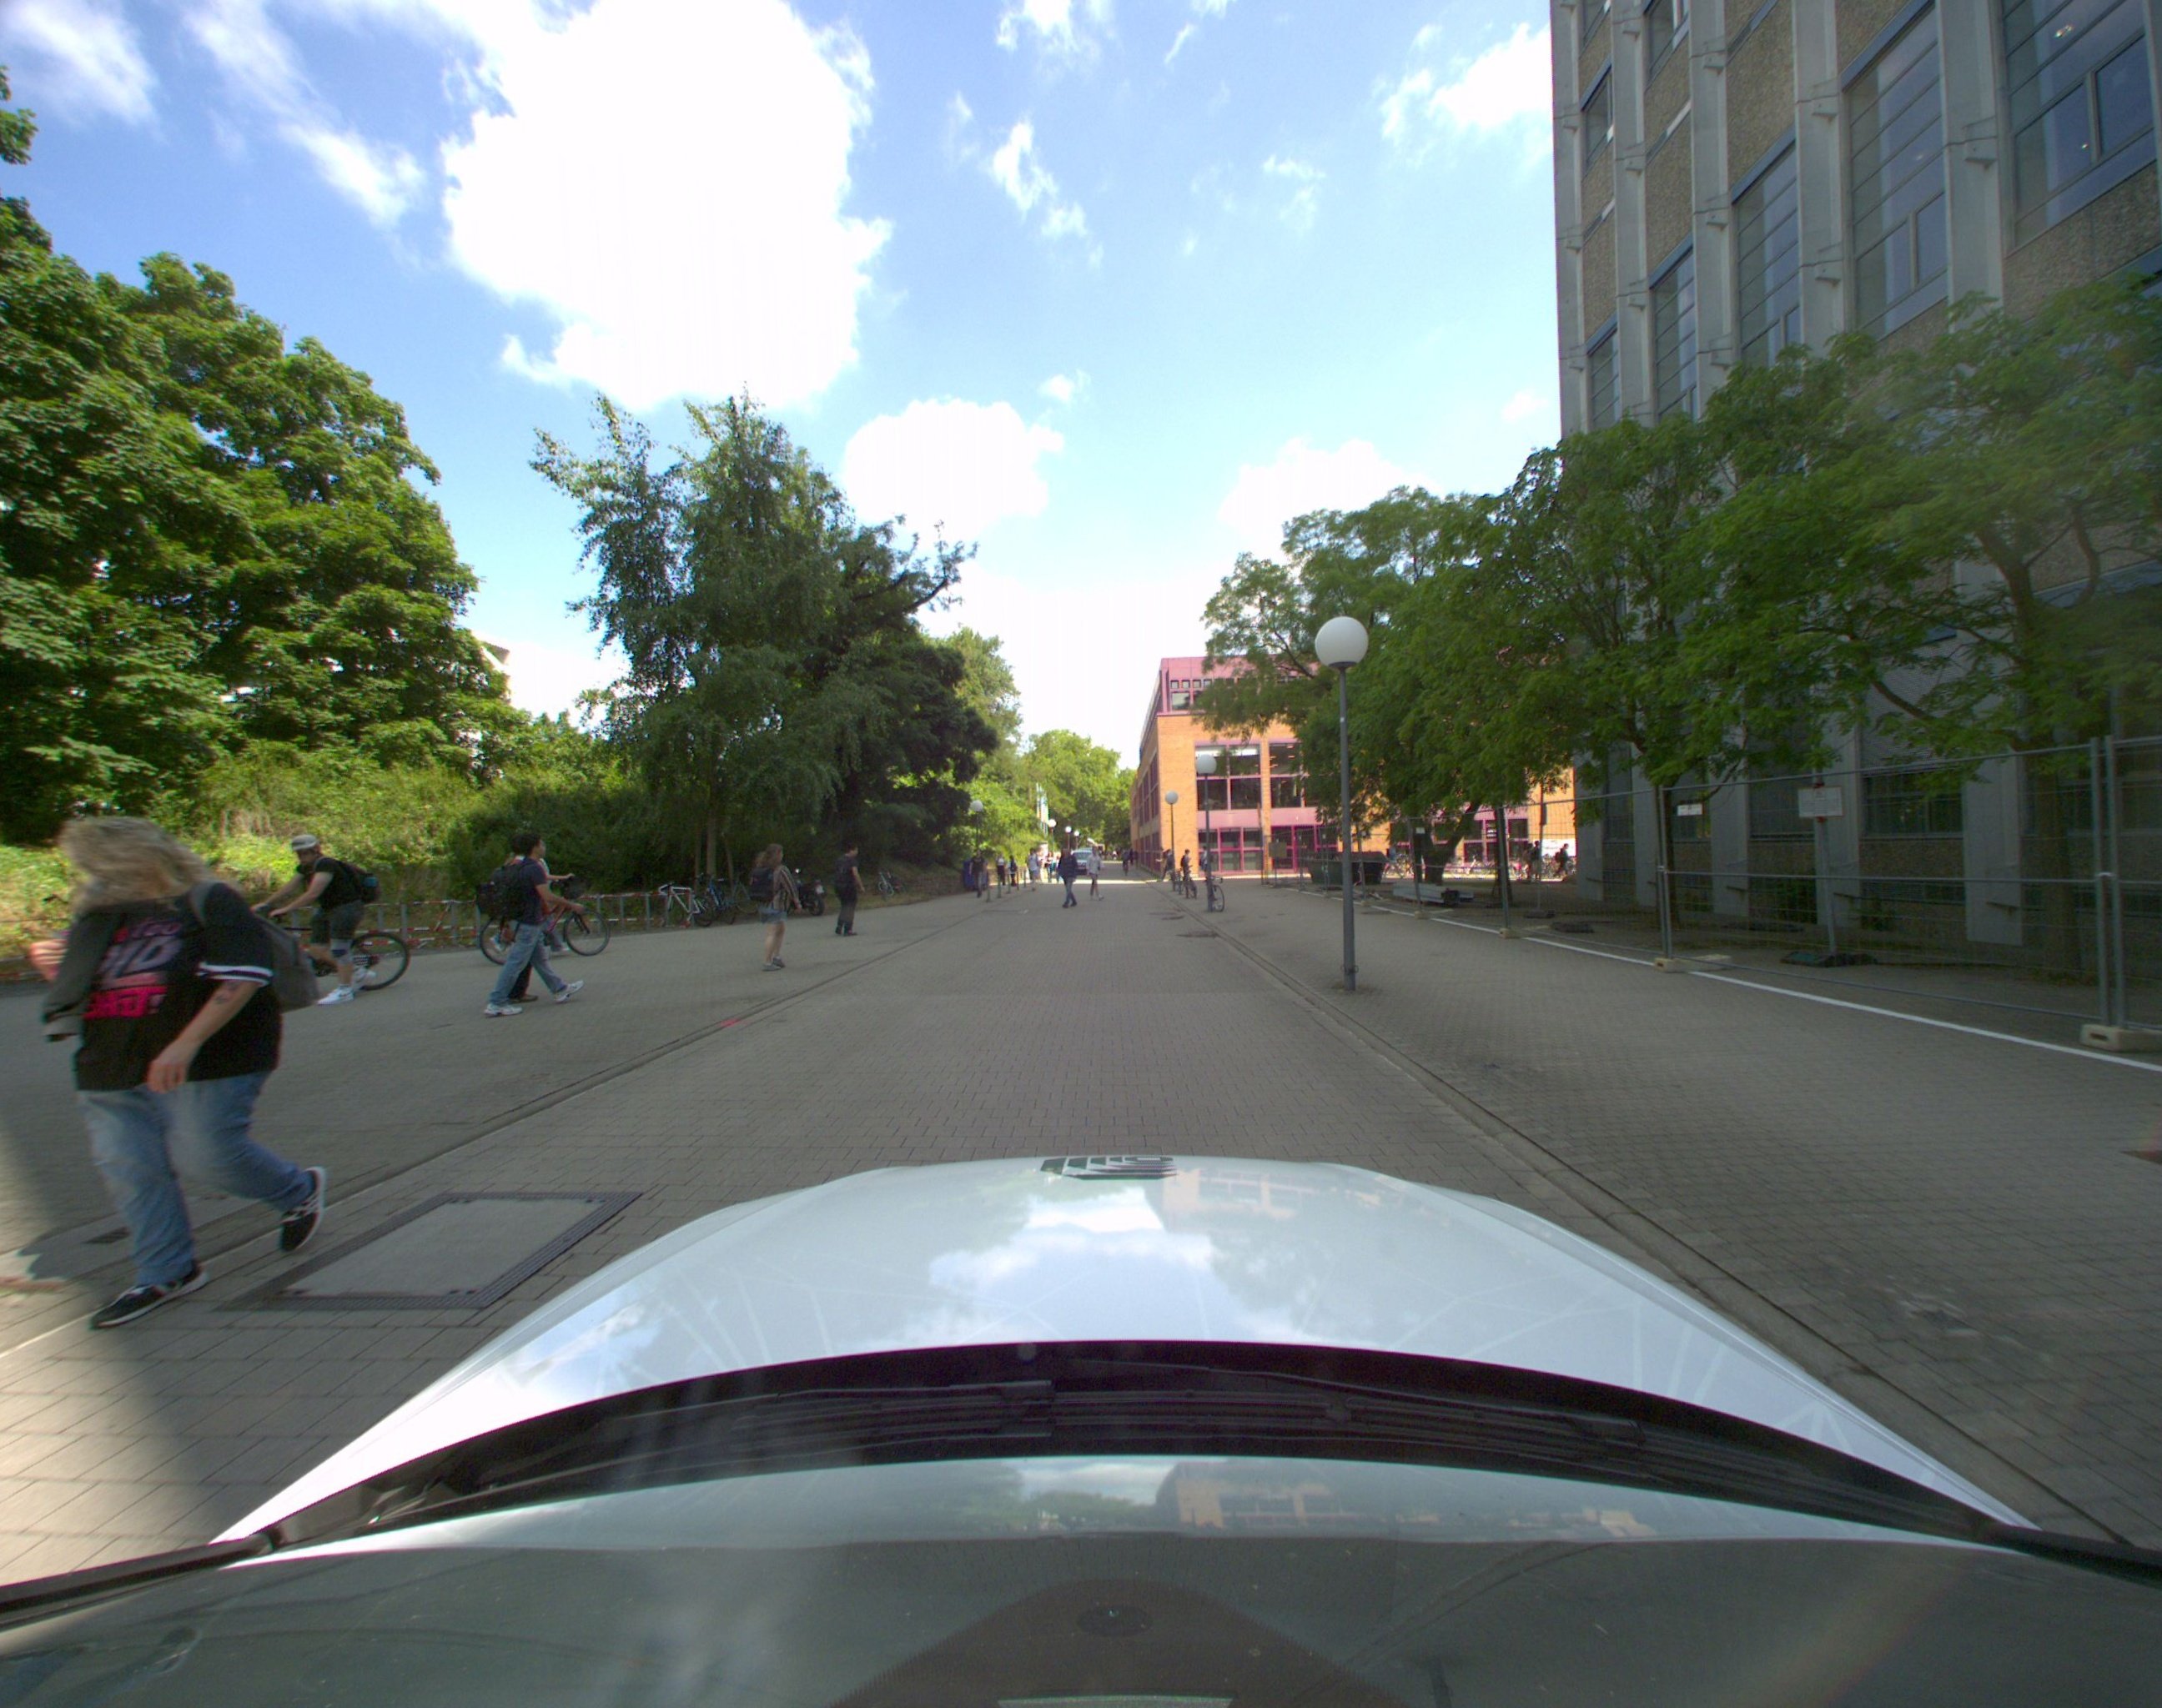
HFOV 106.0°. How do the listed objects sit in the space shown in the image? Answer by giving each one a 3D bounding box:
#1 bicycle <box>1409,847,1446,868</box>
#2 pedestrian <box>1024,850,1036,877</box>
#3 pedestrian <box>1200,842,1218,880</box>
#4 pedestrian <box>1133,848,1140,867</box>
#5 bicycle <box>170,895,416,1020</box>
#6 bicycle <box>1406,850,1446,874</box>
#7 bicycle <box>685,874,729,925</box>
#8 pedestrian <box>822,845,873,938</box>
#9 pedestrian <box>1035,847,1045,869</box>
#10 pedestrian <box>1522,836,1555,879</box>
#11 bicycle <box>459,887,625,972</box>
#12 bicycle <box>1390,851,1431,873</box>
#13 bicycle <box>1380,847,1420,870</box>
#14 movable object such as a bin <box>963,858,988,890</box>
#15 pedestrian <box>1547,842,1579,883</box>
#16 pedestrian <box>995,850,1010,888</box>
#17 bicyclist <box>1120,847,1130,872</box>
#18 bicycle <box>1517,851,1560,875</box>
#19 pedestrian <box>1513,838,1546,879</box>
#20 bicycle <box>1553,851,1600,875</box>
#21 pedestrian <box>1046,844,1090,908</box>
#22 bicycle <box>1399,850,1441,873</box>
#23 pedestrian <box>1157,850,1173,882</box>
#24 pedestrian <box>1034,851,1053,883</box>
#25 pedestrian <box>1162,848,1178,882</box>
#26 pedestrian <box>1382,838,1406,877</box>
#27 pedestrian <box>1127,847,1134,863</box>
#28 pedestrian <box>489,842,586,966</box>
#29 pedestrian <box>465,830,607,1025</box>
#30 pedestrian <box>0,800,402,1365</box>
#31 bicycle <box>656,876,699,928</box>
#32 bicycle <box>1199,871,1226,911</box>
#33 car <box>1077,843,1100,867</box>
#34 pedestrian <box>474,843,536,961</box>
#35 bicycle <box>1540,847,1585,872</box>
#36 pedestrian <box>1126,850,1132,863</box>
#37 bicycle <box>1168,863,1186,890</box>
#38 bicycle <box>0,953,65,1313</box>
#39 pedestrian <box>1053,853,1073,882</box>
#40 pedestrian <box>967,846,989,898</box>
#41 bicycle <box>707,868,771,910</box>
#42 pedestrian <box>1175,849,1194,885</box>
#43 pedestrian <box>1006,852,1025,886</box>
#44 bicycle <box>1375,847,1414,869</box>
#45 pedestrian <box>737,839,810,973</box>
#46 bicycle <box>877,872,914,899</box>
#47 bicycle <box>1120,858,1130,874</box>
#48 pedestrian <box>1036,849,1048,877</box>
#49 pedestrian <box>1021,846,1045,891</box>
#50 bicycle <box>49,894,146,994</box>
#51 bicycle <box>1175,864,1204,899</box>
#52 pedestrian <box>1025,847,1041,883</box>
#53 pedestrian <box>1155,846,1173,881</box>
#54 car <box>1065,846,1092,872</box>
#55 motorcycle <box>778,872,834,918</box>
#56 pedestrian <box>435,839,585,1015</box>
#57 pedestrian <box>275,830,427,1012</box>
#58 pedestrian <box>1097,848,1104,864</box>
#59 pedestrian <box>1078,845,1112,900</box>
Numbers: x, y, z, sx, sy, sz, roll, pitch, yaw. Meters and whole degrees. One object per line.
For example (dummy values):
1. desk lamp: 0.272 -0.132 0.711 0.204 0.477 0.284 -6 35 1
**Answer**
1. bicycle: 18.464 0.197 43.428 1.802 1.110 0.473 0 0 -5
2. pedestrian: -3.041 0.553 49.000 0.681 1.620 0.977 -1 -1 -3
3. pedestrian: 6.245 0.327 39.687 0.762 1.794 0.589 -3 -1 9
4. pedestrian: 4.907 0.336 72.225 0.584 1.672 0.699 -3 -1 3
5. bicycle: -8.460 1.055 8.854 0.468 1.110 1.856 -1 0 30
6. bicycle: 16.306 0.387 38.508 1.686 1.110 0.475 0 0 5
7. bicycle: -8.396 0.989 18.246 0.476 1.047 1.680 1 0 -39
8. pedestrian: -4.452 0.688 15.569 0.682 1.724 0.904 -1 0 0
9. pedestrian: -3.394 0.337 67.638 0.680 1.844 0.783 -1 -1 2
10. pedestrian: 19.007 0.165 33.871 0.900 1.728 0.684 -2 -2 -3
11. bicycle: -7.747 1.041 11.797 0.535 1.047 1.921 -2 -1 37
12. bicycle: 16.287 0.394 40.294 1.803 1.110 0.524 0 0 1
13. bicycle: 16.119 0.220 41.155 1.801 1.110 0.524 0 0 5
14. movable object such as a bin: -4.599 0.876 35.614 0.704 1.336 1.243 1 0 12
15. pedestrian: 21.279 0.381 35.945 0.900 1.728 0.684 -2 -2 -3
16. pedestrian: -3.727 0.703 38.728 0.681 1.728 1.000 -1 0 -6
17. bicyclist: 3.058 0.354 56.959 0.585 1.716 0.665 -2 0 -2
18. bicycle: 22.072 0.428 39.293 1.799 1.169 0.474 0 0 2
19. pedestrian: 19.042 0.199 34.596 0.900 1.728 0.684 -2 -2 -3
20. bicycle: 24.344 0.450 40.013 1.989 1.169 0.474 0 0 0
21. pedestrian: -0.382 0.645 24.280 0.877 1.857 1.039 -1 0 29
22. bicycle: 16.472 0.378 39.628 1.800 1.110 0.524 0 0 5
23. pedestrian: 4.399 0.624 42.688 0.778 1.620 0.684 -1 -1 -1
24. pedestrian: -1.961 0.704 42.956 0.881 1.672 0.560 -1 -1 9
25. pedestrian: 4.411 0.546 40.455 0.692 1.672 0.590 -3 -1 9
26. pedestrian: 14.392 0.170 37.447 0.894 1.728 0.688 -3 -3 18
27. pedestrian: 5.260 0.142 86.268 0.584 1.672 0.818 -3 -1 3
28. pedestrian: -8.003 0.700 12.003 0.668 1.724 0.943 -2 1 34
29. pedestrian: -5.511 0.692 8.261 0.677 1.835 0.947 -2 1 36
30. pedestrian: -3.130 0.676 2.936 0.770 1.680 0.901 0 0 -20
31. bicycle: -8.813 1.019 17.768 0.476 1.047 1.680 -1 0 -39
32. bicycle: 3.357 0.929 20.935 0.394 0.936 1.732 -4 0 1
33. car: 0.716 0.078 71.631 1.876 1.974 5.217 -2 0 2
34. pedestrian: -8.799 0.708 12.459 0.689 1.724 0.723 -3 1 -35
35. bicycle: 22.339 0.243 37.801 1.797 1.169 0.475 0 0 5
36. pedestrian: 6.381 0.353 108.843 0.722 1.672 0.749 -3 -1 3
37. bicycle: 3.794 0.875 32.246 0.449 0.962 1.740 -4 0 1
38. bicycle: -4.395 0.946 2.520 1.692 1.159 0.473 -1 0 -8
39. pedestrian: -0.947 0.746 43.742 0.880 1.542 0.745 -1 -1 14
40. pedestrian: -3.817 0.669 30.172 0.681 1.873 1.120 -1 -1 -3
41. bicycle: -9.024 0.896 21.561 0.468 1.047 1.709 1 0 23
42. pedestrian: 4.762 0.597 37.451 0.847 1.651 0.589 -1 -1 9
43. pedestrian: -3.214 0.717 39.752 0.573 1.611 0.909 0 -1 -32
44. bicycle: 16.227 0.186 42.122 1.804 1.110 0.523 0 0 -2
45. pedestrian: -4.109 0.671 10.931 0.682 1.724 0.731 -1 0 0
46. bicycle: -6.483 1.078 28.535 0.418 0.910 1.747 -1 -2 17
47. bicycle: 3.072 0.810 56.942 0.585 1.083 1.906 -2 0 -1
48. pedestrian: -2.353 0.548 49.066 0.681 1.620 0.913 -1 -1 -3
49. pedestrian: -2.044 0.617 35.010 0.719 1.881 1.086 -1 -1 14
50. bicycle: -12.086 1.067 9.996 1.755 1.110 0.477 -1 0 30
51. bicycle: 3.547 0.881 26.742 0.706 1.093 1.749 -1 0 1
52. pedestrian: -2.471 0.550 42.032 0.680 1.844 0.783 -1 -1 2
53. pedestrian: 4.411 0.493 43.410 0.823 1.844 0.684 -1 -1 -1
54. car: -0.154 0.346 59.350 1.783 1.761 4.483 -2 0 2
55. motorcycle: -6.926 1.000 20.444 2.001 1.047 0.477 1 1 44
56. pedestrian: -6.083 0.721 8.704 0.710 1.724 1.071 -2 1 34
57. pedestrian: -7.846 0.672 8.787 0.606 1.835 1.056 -2 0 30
58. pedestrian: 2.072 0.191 85.728 0.584 1.672 0.818 -3 -1 3
59. pedestrian: 0.463 0.615 27.831 0.786 1.845 1.109 -1 0 -23
